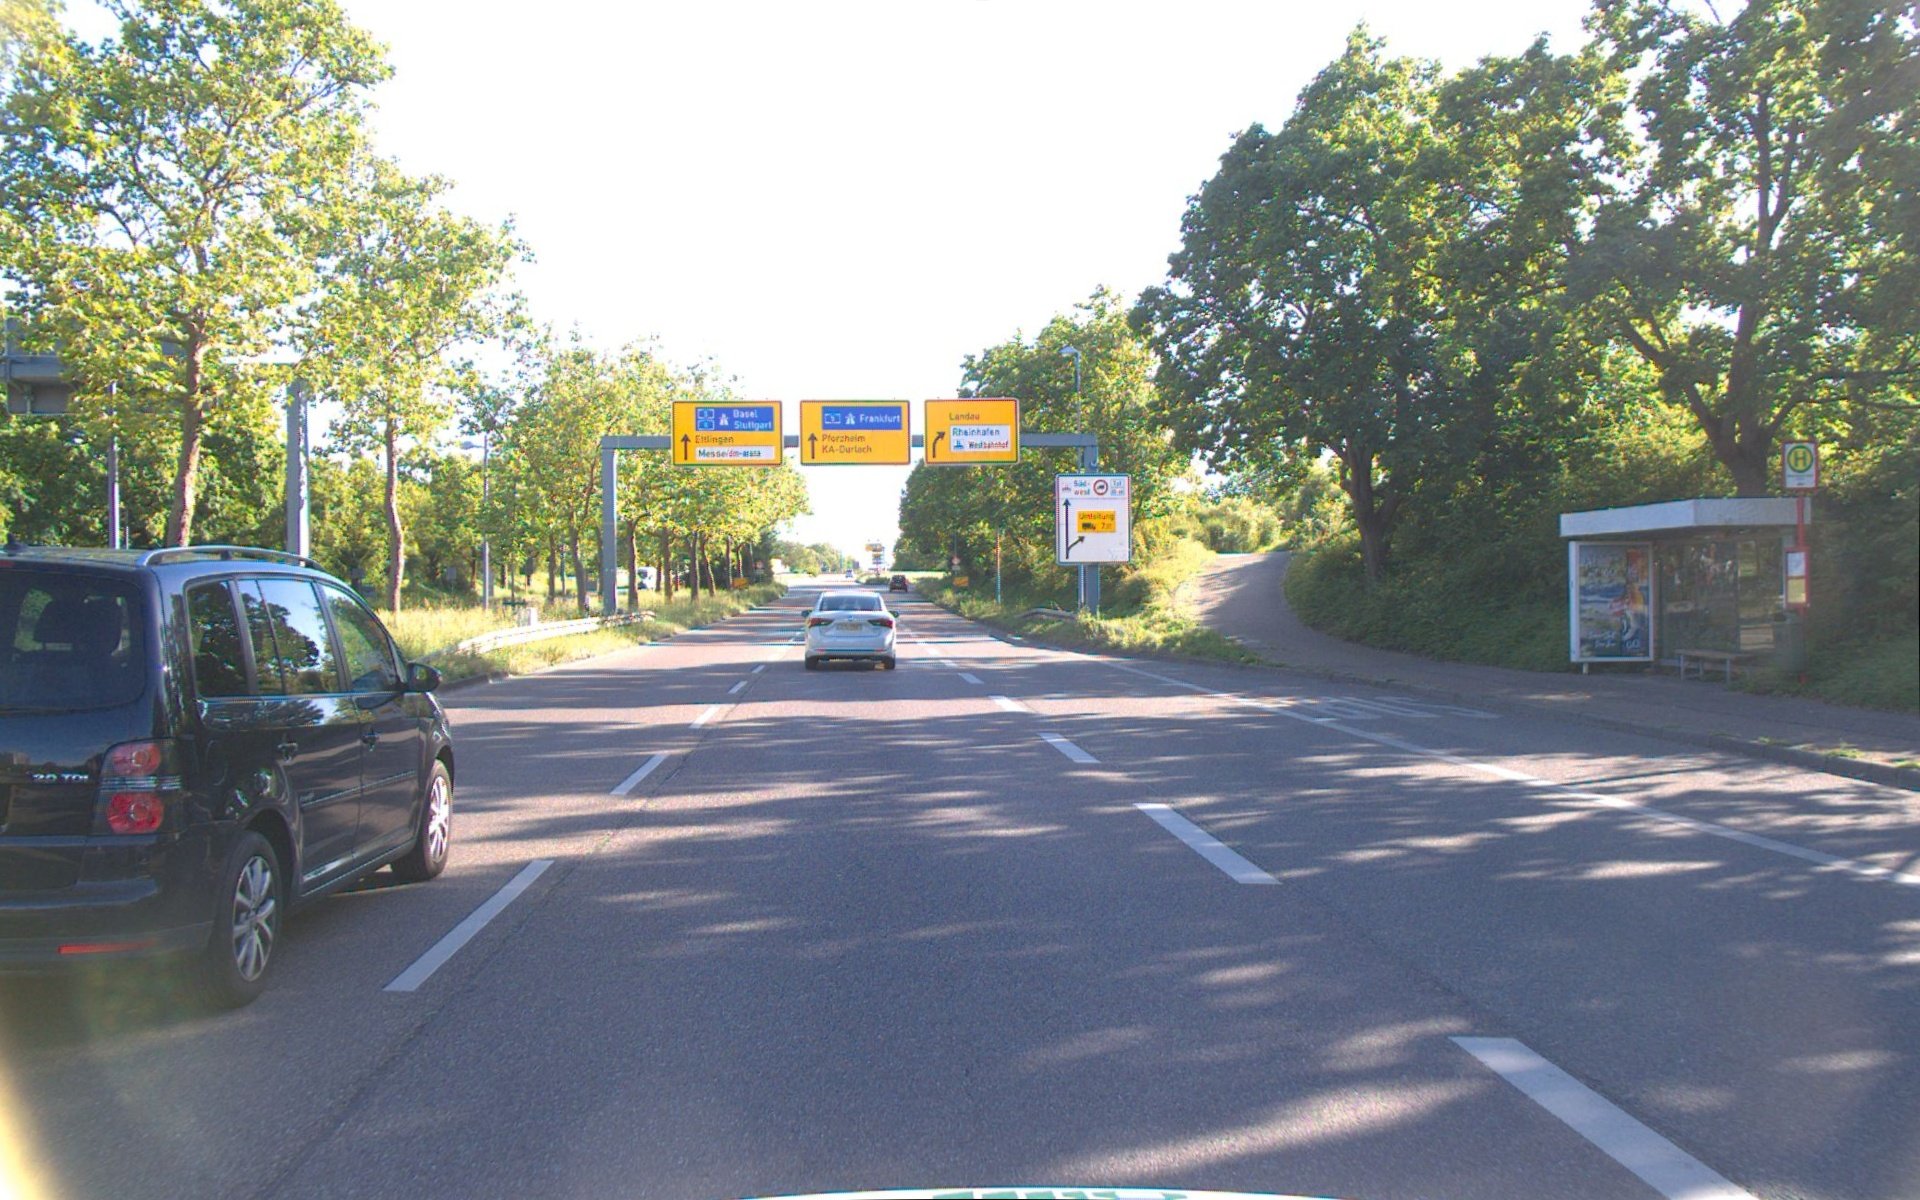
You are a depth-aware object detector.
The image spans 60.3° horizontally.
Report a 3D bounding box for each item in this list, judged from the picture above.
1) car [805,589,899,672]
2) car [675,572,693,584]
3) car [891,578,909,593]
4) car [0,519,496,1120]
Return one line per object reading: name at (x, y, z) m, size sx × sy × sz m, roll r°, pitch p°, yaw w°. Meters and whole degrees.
car at (-2.151, 0.554, 32.985) m, size 1.733 × 1.489 × 4.363 m, roll -1°, pitch 1°, yaw -4°
car at (-34.735, -2.766, 208.081) m, size 1.732 × 1.489 × 4.363 m, roll -1°, pitch 1°, yaw -4°
car at (-5.887, -1.424, 161.860) m, size 1.732 × 1.489 × 4.364 m, roll -1°, pitch 1°, yaw -2°
car at (-3.398, 0.592, 7.014) m, size 1.732 × 1.673 × 4.920 m, roll 0°, pitch 0°, yaw -3°
